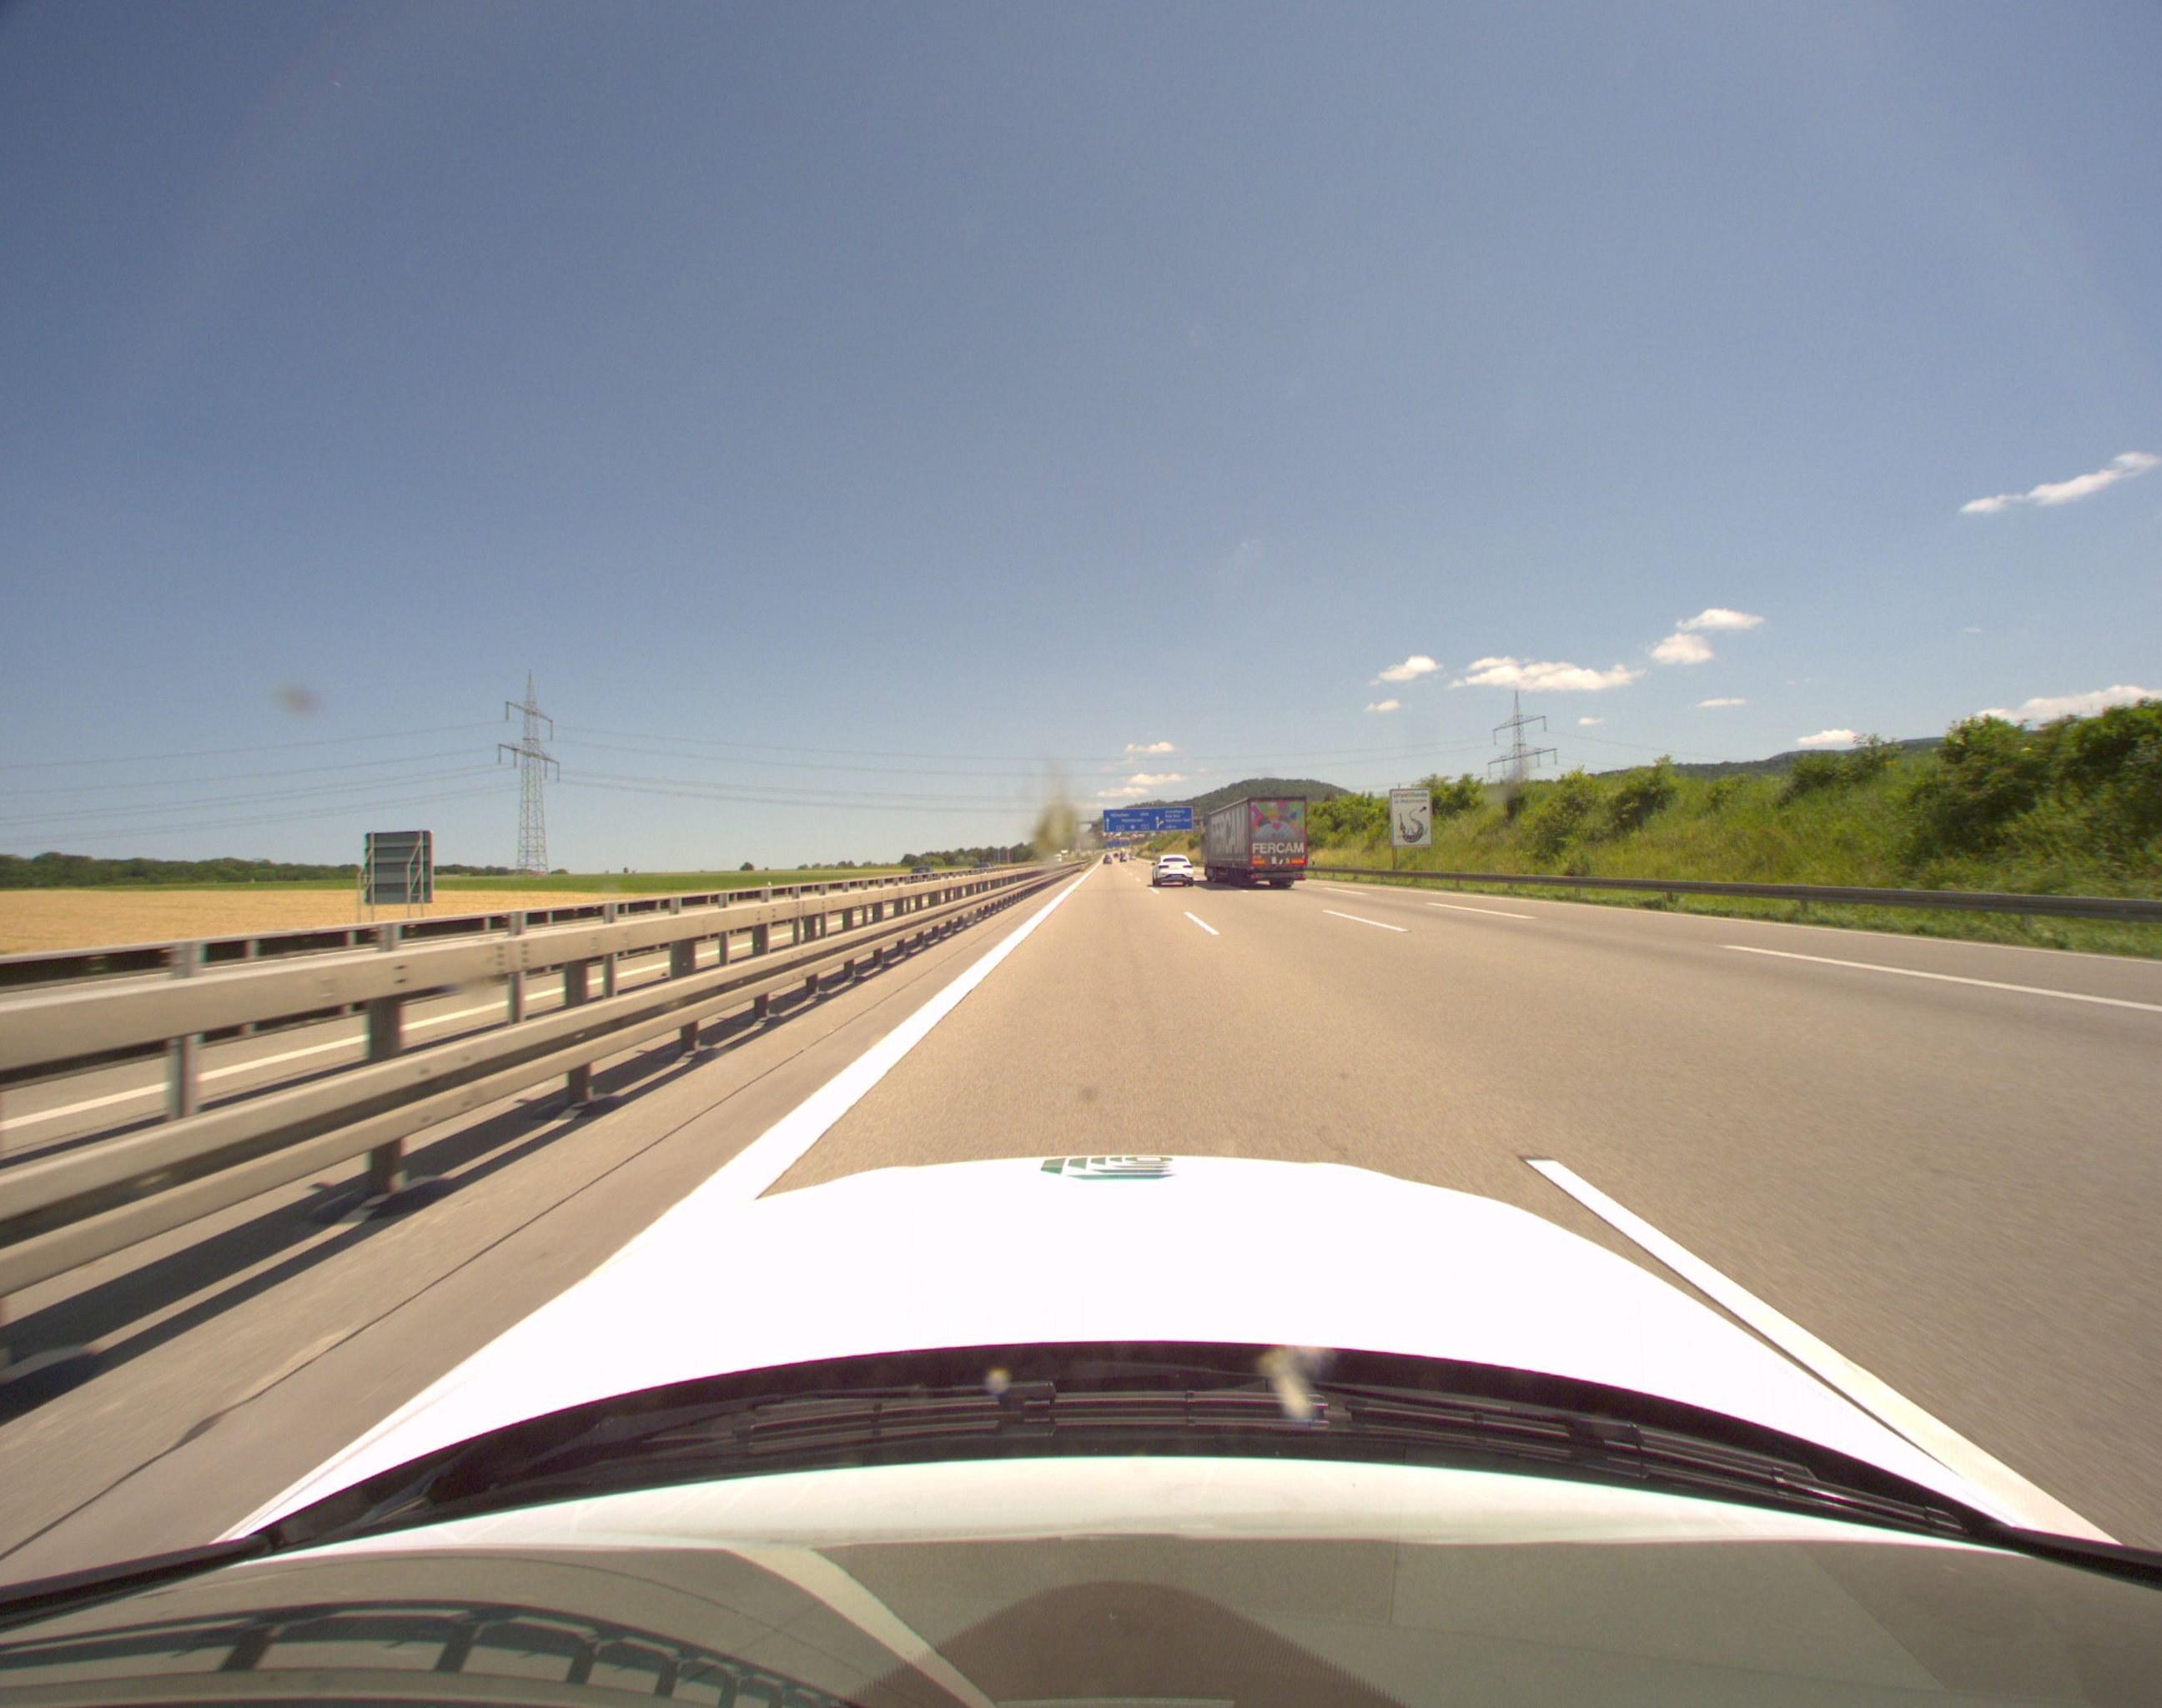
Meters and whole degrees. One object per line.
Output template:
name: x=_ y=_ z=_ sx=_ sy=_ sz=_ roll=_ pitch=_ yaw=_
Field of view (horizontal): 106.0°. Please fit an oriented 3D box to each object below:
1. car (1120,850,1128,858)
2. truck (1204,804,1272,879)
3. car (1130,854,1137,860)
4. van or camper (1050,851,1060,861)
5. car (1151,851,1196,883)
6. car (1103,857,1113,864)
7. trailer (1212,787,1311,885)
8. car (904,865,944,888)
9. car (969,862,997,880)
car: x=10.288 y=-0.016 z=196.243 sx=1.986 sy=2.014 sz=4.002 roll=0 pitch=-1 yaw=2
truck: x=8.883 y=-0.638 z=46.733 sx=2.742 sy=4.020 sz=6.790 roll=0 pitch=-1 yaw=1
car: x=16.549 y=0.980 z=257.475 sx=1.986 sy=1.818 sz=4.002 roll=-2 pitch=0 yaw=2
van or camper: x=-6.747 y=0.640 z=210.660 sx=2.219 sy=2.509 sz=6.599 roll=0 pitch=-1 yaw=2
car: x=4.731 y=0.653 z=42.315 sx=1.907 sy=1.581 sz=5.232 roll=0 pitch=-1 yaw=1
car: x=5.213 y=1.236 z=157.222 sx=1.986 sy=1.389 sz=4.002 roll=0 pitch=-1 yaw=2
trailer: x=8.698 y=-0.722 z=40.811 sx=2.715 sy=4.155 sz=11.813 roll=0 pitch=-1 yaw=2
car: x=-10.809 y=1.531 z=56.428 sx=1.665 sy=1.440 sz=4.567 roll=-4 pitch=-1 yaw=1
car: x=-9.102 y=1.548 z=75.765 sx=1.802 sy=1.440 sz=5.283 roll=-5 pitch=-1 yaw=0
